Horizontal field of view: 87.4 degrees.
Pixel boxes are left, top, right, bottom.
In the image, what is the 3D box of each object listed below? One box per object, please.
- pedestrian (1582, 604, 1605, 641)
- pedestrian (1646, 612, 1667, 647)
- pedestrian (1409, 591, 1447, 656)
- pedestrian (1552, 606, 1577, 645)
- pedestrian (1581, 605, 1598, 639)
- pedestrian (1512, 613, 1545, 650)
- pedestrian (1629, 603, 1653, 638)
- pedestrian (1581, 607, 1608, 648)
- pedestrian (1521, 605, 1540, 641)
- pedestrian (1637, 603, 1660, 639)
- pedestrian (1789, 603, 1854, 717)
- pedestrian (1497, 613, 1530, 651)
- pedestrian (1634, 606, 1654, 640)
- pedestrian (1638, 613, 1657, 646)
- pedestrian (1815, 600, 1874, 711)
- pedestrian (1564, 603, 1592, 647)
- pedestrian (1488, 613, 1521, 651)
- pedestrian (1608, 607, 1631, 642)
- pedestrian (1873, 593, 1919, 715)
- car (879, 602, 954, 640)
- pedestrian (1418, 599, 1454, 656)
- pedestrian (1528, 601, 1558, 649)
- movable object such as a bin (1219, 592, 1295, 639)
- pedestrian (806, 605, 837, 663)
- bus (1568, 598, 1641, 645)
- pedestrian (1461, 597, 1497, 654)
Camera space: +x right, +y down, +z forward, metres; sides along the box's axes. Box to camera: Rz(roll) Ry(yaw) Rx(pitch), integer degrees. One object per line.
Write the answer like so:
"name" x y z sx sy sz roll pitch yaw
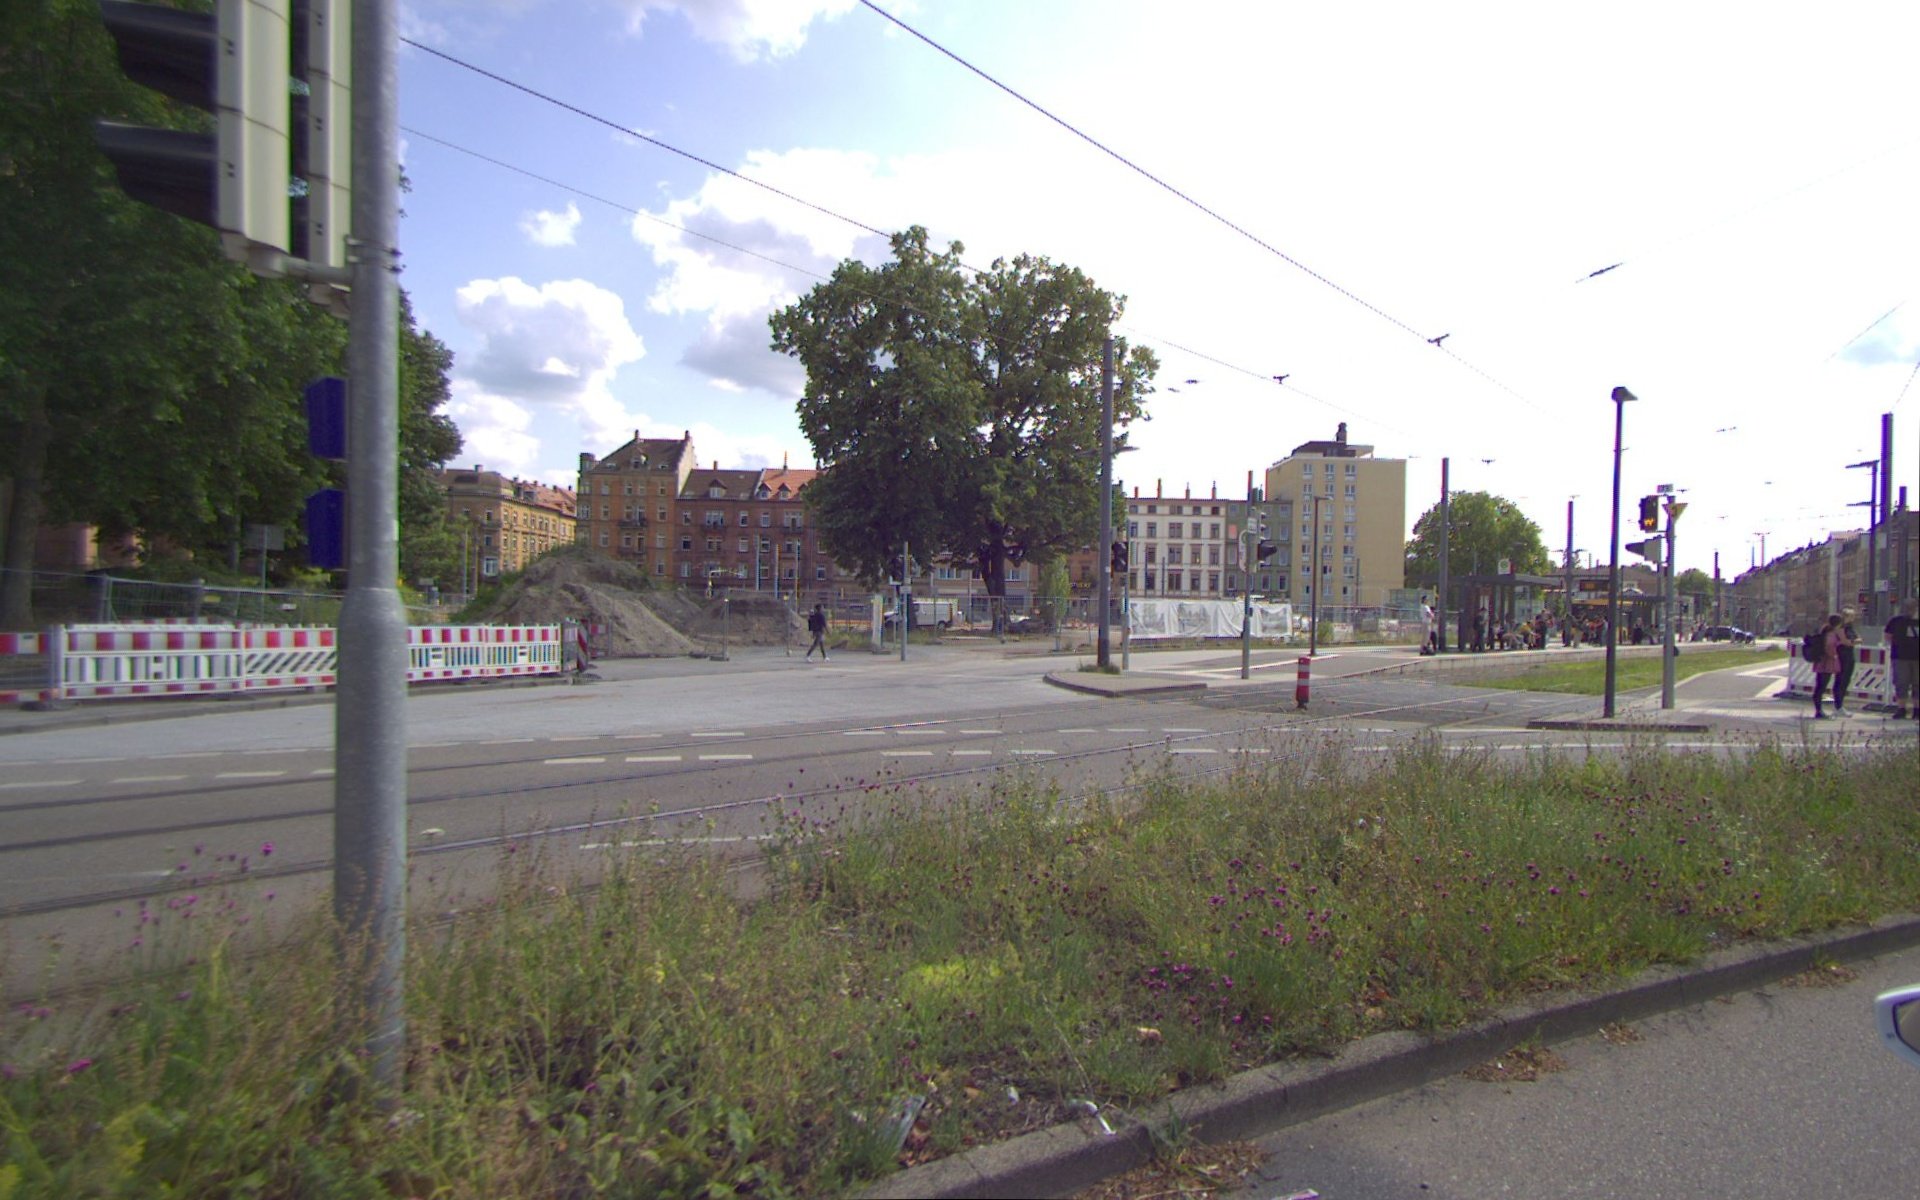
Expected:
"pedestrian" 36.250 1.292 57.460 0.925 2.040 0.731 2 0 19
"pedestrian" 41.746 1.769 60.214 0.928 2.040 0.729 2 0 34
"pedestrian" 15.065 0.753 32.320 0.794 2.040 0.807 2 0 -43
"pedestrian" 32.456 1.371 53.957 0.925 2.040 0.731 2 0 15
"pedestrian" 38.744 1.365 61.804 0.717 2.040 0.943 2 0 25
"pedestrian" 22.908 1.274 40.474 0.726 1.450 0.931 2 0 -43
"pedestrian" 39.625 1.186 58.443 0.925 2.040 0.731 2 0 19
"pedestrian" 32.374 1.404 51.259 0.925 2.040 0.731 2 0 15
"pedestrian" 32.770 1.335 57.687 0.720 2.040 0.939 2 0 41
"pedestrian" 40.408 1.215 58.965 0.925 2.040 0.731 2 0 19
"pedestrian" 13.439 0.916 15.675 0.616 1.729 0.608 1 0 -31
"pedestrian" 22.010 1.278 39.918 0.726 1.450 0.931 2 0 -43
"pedestrian" 41.985 1.418 61.656 0.928 2.040 0.729 2 0 34
"pedestrian" 43.363 1.839 63.377 0.928 2.040 0.729 2 0 34
"pedestrian" 14.282 0.889 16.225 0.609 1.759 0.409 1 0 -7
"pedestrian" 29.632 1.192 48.165 0.925 2.040 0.731 2 0 19
"pedestrian" 21.328 1.252 39.369 0.726 1.450 0.931 2 0 -43
"pedestrian" 38.658 1.425 58.874 0.925 2.040 0.731 2 0 19
"pedestrian" 15.187 0.857 16.015 0.779 1.910 0.612 1 0 27
"car" -2.866 1.404 66.770 4.564 2.450 2.047 1 -1 -29
"pedestrian" 17.374 0.986 36.655 0.726 2.040 0.931 2 0 -43
"pedestrian" 25.198 1.071 43.407 0.726 2.040 0.931 2 0 -43
"movable object such as a bin" 17.385 0.912 58.688 3.972 2.608 2.617 2 -1 -43
"pedestrian" -4.020 0.985 29.135 0.777 1.674 0.577 1 0 -21
"bus" 45.121 1.505 70.116 2.396 3.022 10.481 0 -1 43
"pedestrian" 18.991 0.925 36.786 0.726 2.040 0.931 2 0 -43
